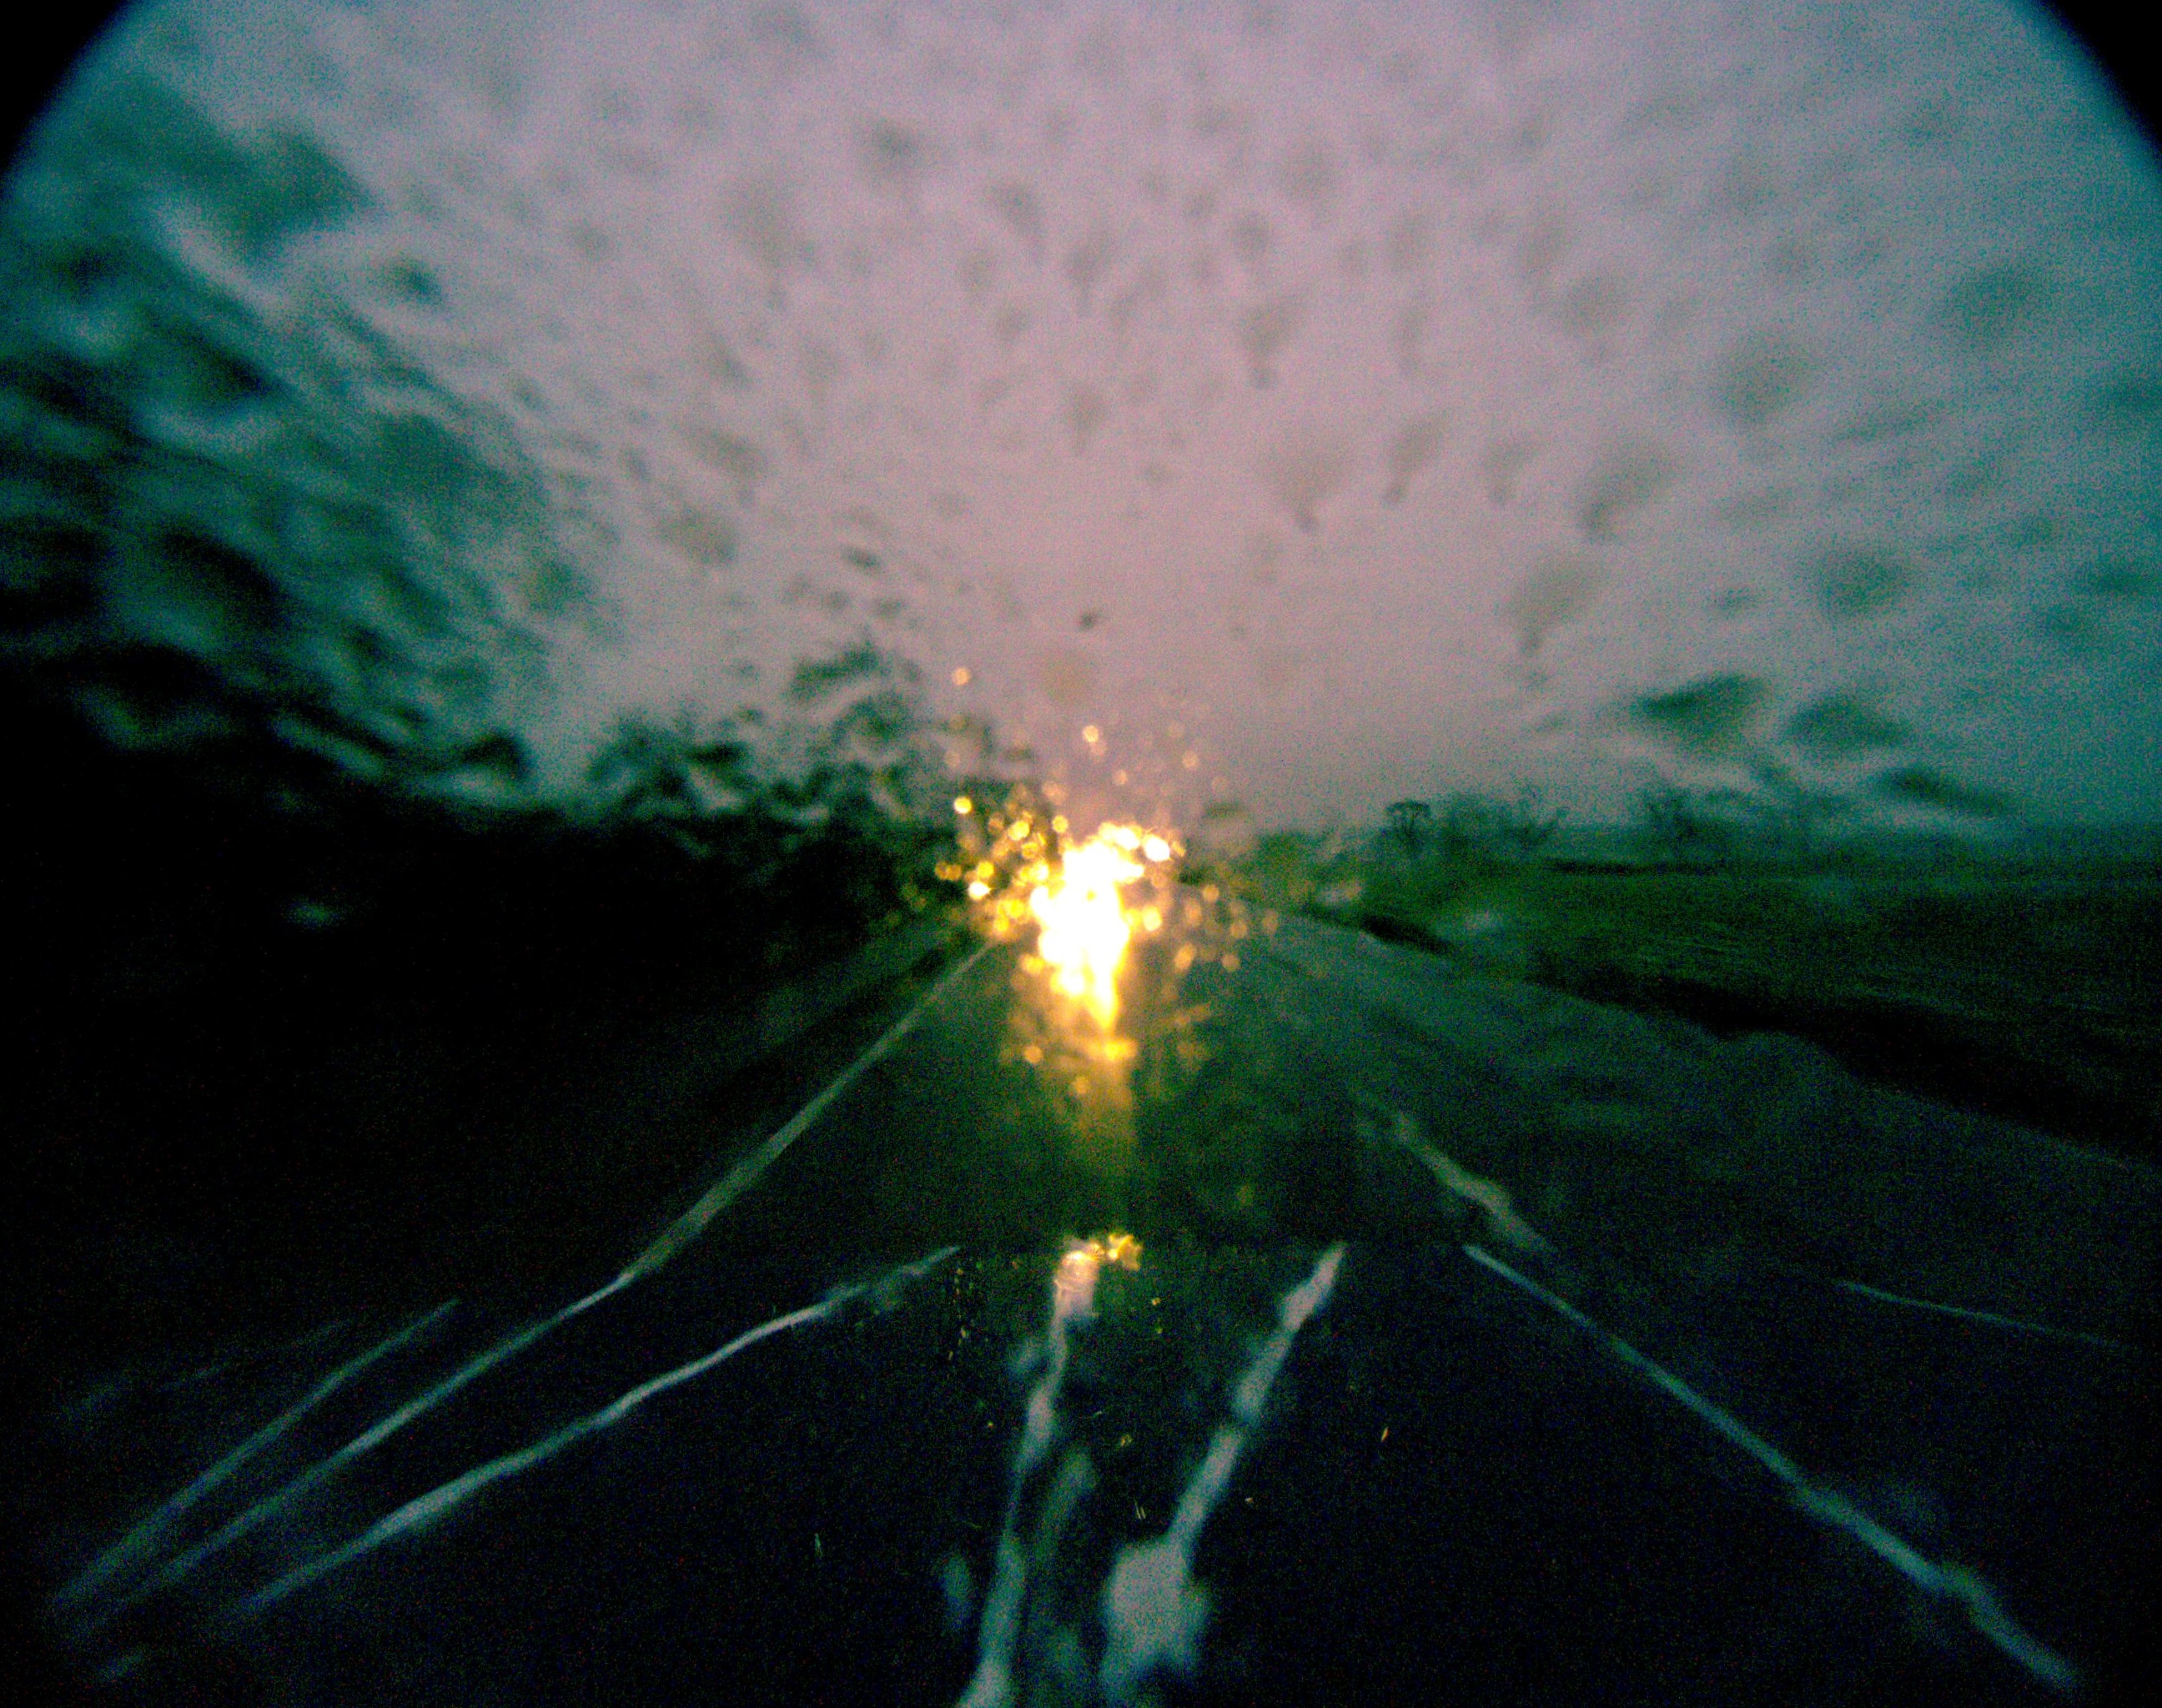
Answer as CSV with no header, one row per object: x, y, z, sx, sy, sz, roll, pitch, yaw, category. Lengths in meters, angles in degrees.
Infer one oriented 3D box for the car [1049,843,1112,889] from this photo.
0.036,0.500,36.683,2.704,1.974,5.803,-2,1,1,car
